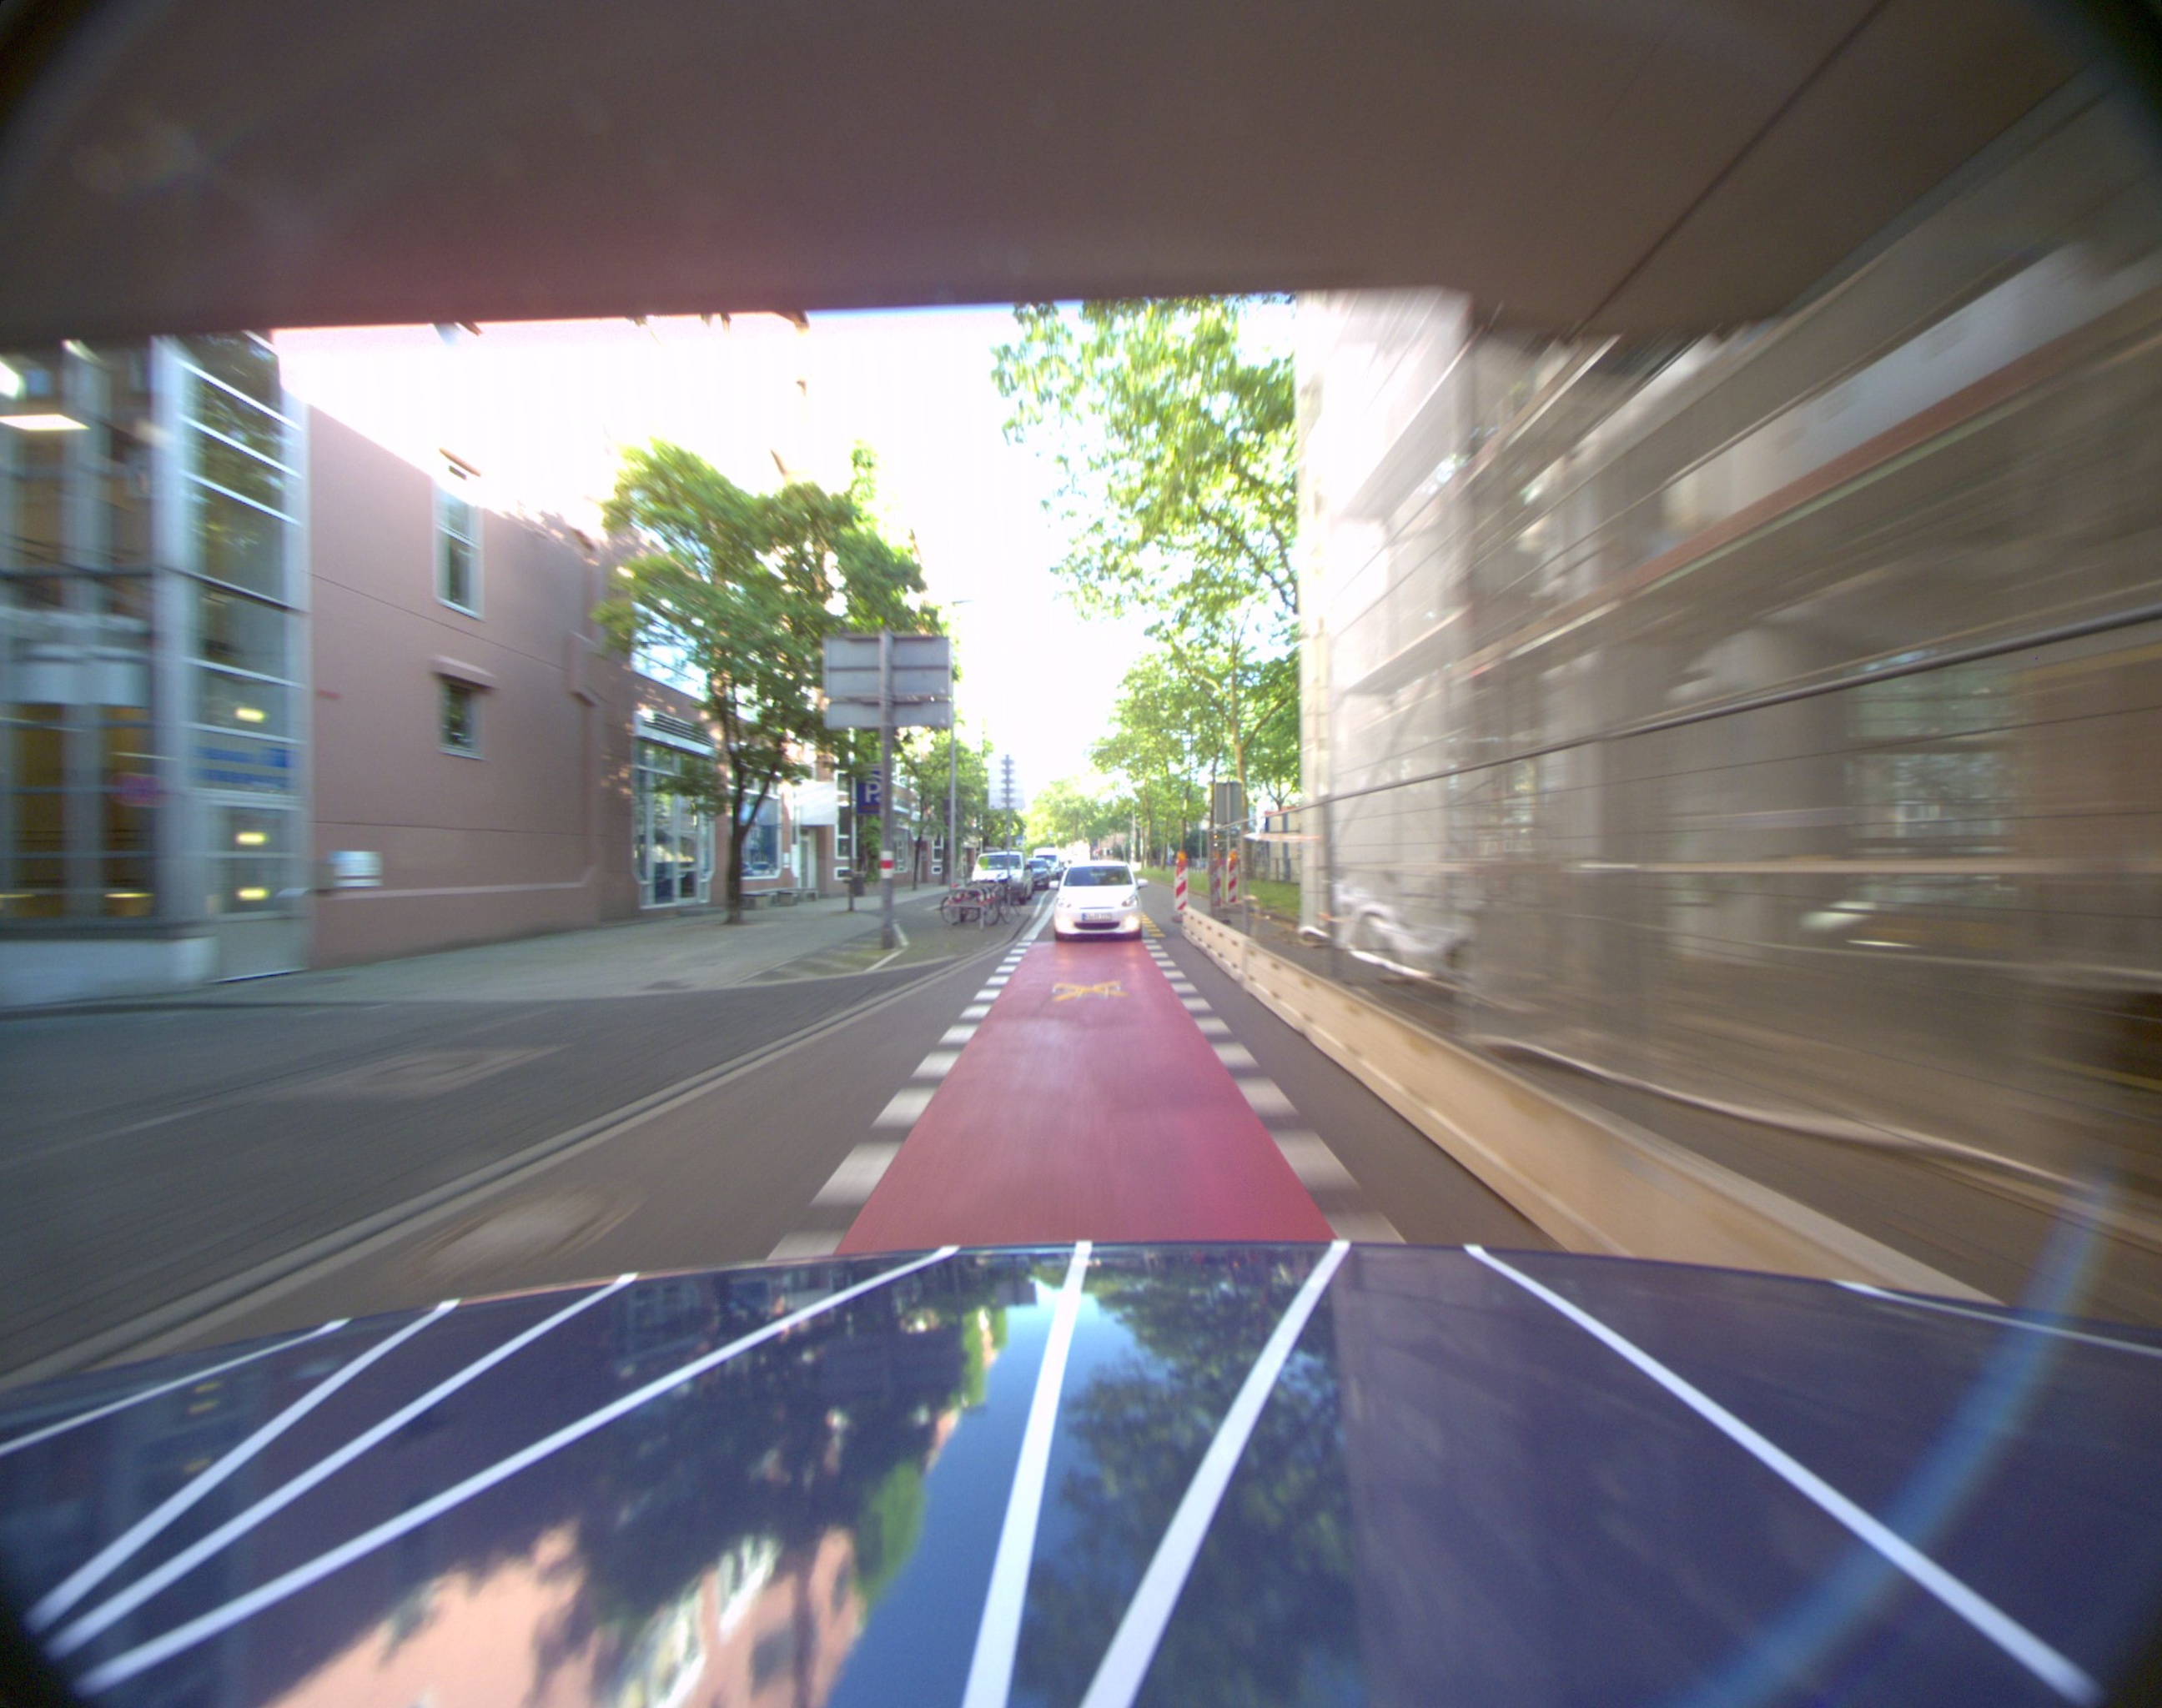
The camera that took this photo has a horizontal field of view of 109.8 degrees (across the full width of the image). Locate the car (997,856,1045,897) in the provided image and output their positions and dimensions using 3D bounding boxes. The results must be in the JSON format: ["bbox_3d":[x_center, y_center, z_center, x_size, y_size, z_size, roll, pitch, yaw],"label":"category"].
[{"bbox_3d":[-2.615,0.942,33.756,1.792,1.660,4.199,-1,0,-1],"label":"car"}]

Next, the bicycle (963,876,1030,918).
[{"bbox_3d":[-2.217,1.124,19.898,1.679,1.061,0.512,-2,0,23],"label":"bicycle"}]

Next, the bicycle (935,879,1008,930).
[{"bbox_3d":[-2.440,1.110,16.848,1.678,1.061,0.501,-2,0,34],"label":"bicycle"}]

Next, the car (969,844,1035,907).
[{"bbox_3d":[-2.805,0.730,28.066,1.923,2.066,5.170,-1,0,-1],"label":"car"}]

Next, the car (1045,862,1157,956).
[{"bbox_3d":[0.236,0.929,14.736,1.809,1.492,4.199,-1,0,-3],"label":"car"}]

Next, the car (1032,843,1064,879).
[{"bbox_3d":[-2.465,0.514,58.336,2.120,2.550,5.905,-1,0,0],"label":"car"}]

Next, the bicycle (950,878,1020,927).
[{"bbox_3d":[-2.242,1.108,17.659,1.678,1.061,0.501,-2,0,34],"label":"bicycle"}]

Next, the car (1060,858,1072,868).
[{"bbox_3d":[-2.500,1.486,126.573,1.999,1.524,3.999,-3,1,-1],"label":"car"}]

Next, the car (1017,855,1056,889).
[{"bbox_3d":[-2.309,0.925,40.073,1.792,1.660,4.440,-1,0,-1],"label":"car"}]

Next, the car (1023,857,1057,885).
[{"bbox_3d":[-2.399,0.987,45.312,1.833,1.569,4.000,-1,0,-1],"label":"car"}]

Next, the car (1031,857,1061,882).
[{"bbox_3d":[-2.336,1.014,51.168,1.833,1.569,4.000,-1,0,-1],"label":"car"}]
